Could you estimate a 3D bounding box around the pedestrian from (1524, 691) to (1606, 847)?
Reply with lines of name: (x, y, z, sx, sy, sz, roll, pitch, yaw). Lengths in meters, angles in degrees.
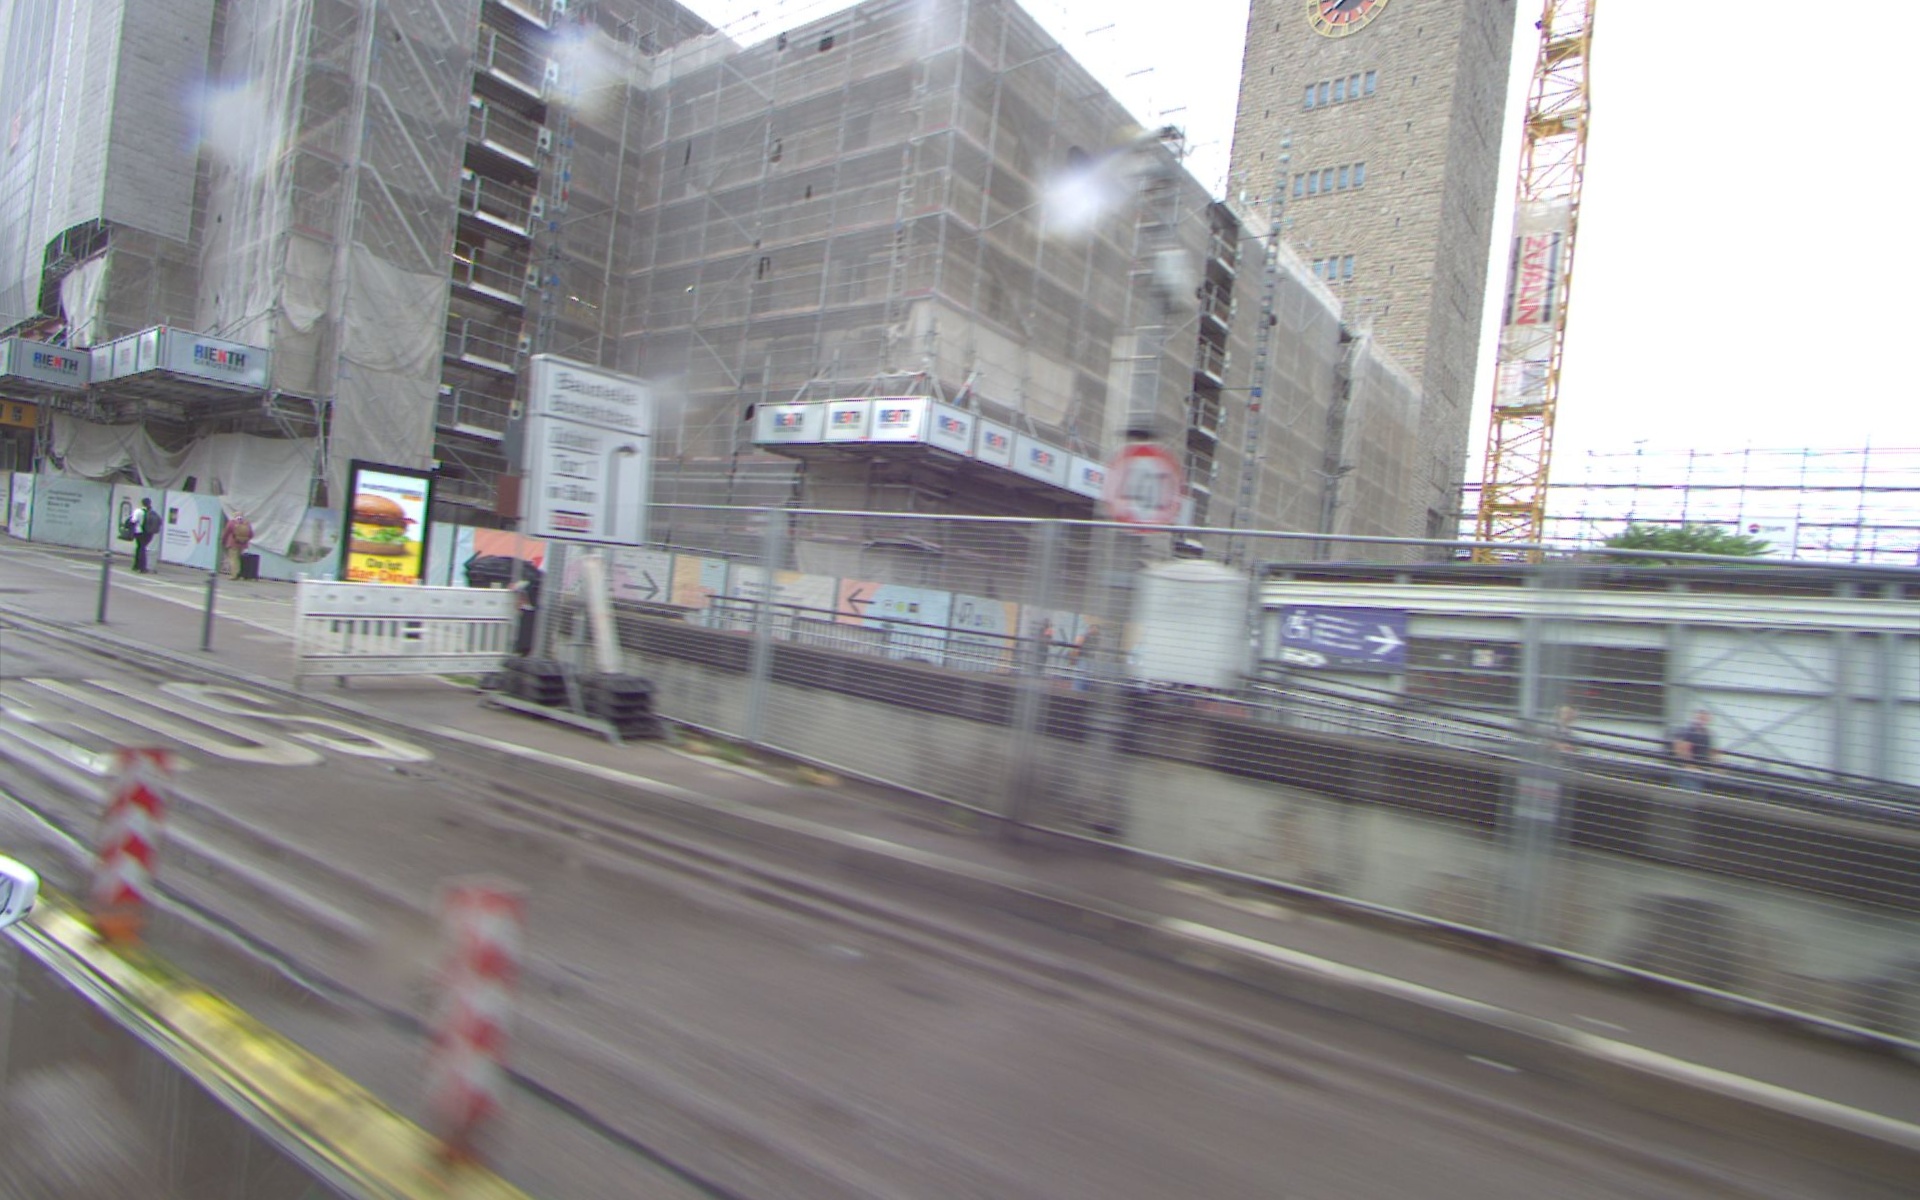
pedestrian: (8.536, 2.361, 14.232, 0.752, 2.036, 0.780, 7, -2, 29)

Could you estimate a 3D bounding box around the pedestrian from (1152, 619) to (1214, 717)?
pedestrian: (4.985, 1.516, 22.518, 0.918, 2.039, 0.763, 7, 1, 34)

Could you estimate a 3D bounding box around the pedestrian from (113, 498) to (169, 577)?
pedestrian: (-18.853, -1.428, 23.151, 0.942, 1.700, 0.735, 8, 3, 36)

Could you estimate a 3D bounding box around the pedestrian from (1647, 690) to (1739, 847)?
pedestrian: (10.340, 2.355, 14.232, 0.752, 2.036, 0.866, 7, -2, 29)

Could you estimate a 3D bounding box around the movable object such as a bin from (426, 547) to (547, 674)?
movable object such as a bin: (-6.393, 0.118, 13.655, 1.286, 1.510, 1.524, 7, 1, -24)

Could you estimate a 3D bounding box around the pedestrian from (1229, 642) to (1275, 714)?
pedestrian: (8.713, 2.335, 30.019, 0.698, 2.018, 0.847, 6, 1, -44)

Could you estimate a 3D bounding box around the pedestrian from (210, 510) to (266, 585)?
pedestrian: (-17.868, -1.298, 24.901, 1.093, 1.703, 0.732, 8, 1, 39)

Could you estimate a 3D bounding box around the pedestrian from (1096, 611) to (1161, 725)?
pedestrian: (3.206, 1.304, 19.080, 0.752, 2.036, 0.806, 7, -2, 29)

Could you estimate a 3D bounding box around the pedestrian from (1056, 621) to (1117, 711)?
pedestrian: (2.412, 1.268, 19.201, 0.697, 1.611, 0.856, 7, -2, 29)
